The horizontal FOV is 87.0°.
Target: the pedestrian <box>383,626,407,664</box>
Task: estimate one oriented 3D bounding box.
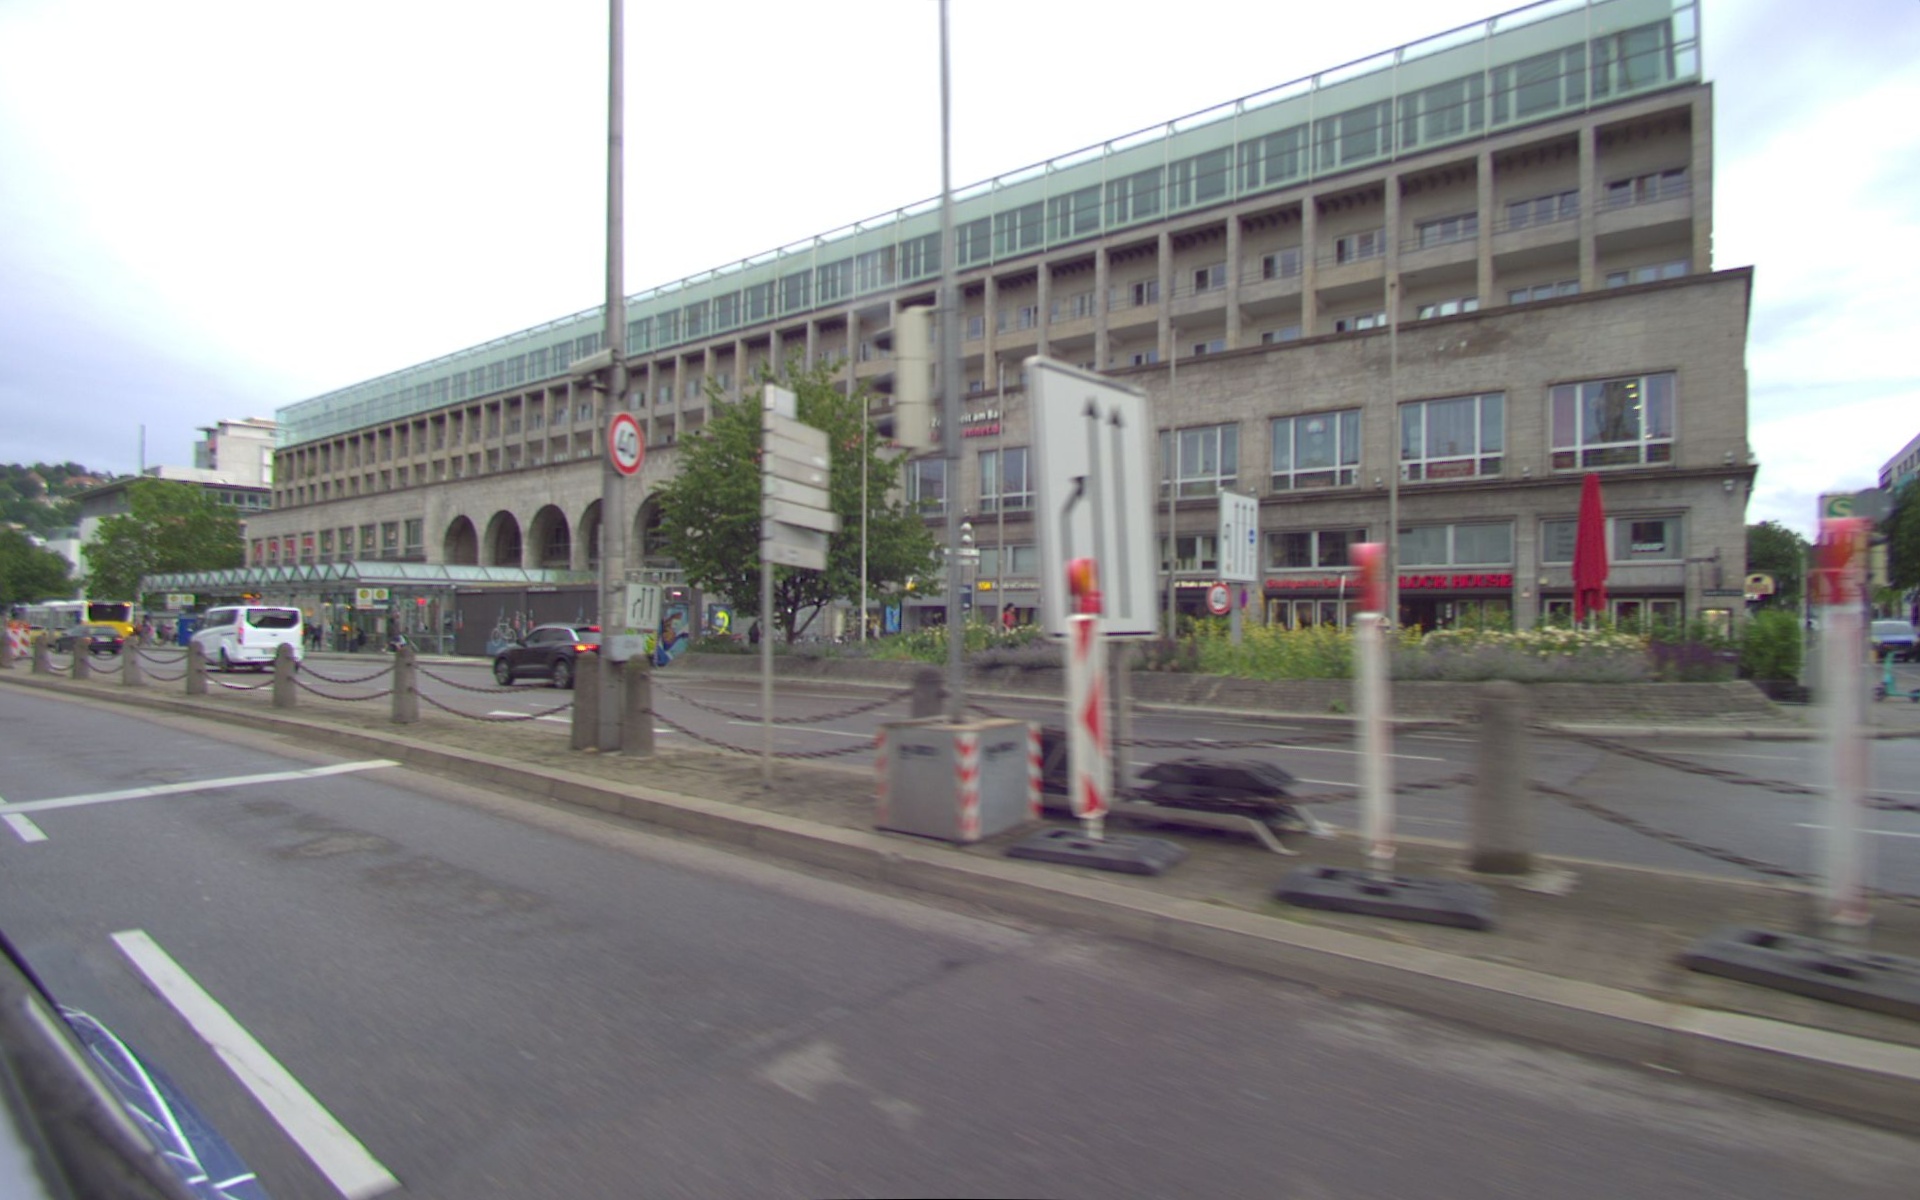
[{"bbox_3d":[-28.184,2.237,50.495,0.929,1.870,0.712,-2,-2,37],"label":"pedestrian"}]

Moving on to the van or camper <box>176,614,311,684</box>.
[{"bbox_3d":[-22.426,1.479,31.595,5.180,2.029,1.975,-1,-2,37],"label":"van or camper"}]

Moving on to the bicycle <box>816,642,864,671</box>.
[{"bbox_3d":[-5.505,2.582,46.405,0.663,1.303,2.341,-2,-3,42],"label":"bicycle"}]

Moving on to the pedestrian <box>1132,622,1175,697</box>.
[{"bbox_3d":[4.645,1.417,24.293,0.793,1.747,0.659,-3,-4,44],"label":"pedestrian"}]

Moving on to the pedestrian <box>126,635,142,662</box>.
[{"bbox_3d":[-53.701,3.152,65.775,0.854,1.738,0.618,-2,-2,37],"label":"pedestrian"}]

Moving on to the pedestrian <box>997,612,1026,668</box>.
[{"bbox_3d":[1.888,1.463,37.273,0.758,2.029,1.086,1,-3,-15],"label":"pedestrian"}]

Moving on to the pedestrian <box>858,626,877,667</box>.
[{"bbox_3d":[-4.307,2.169,47.127,0.603,1.869,0.674,-1,-3,30],"label":"pedestrian"}]

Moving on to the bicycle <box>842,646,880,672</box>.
[{"bbox_3d":[-4.445,2.641,45.596,0.502,1.170,1.886,-2,-3,39],"label":"bicycle"}]

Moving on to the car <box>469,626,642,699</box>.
[{"bbox_3d":[-10.007,1.485,24.894,4.571,1.629,1.974,-2,-3,39],"label":"car"}]

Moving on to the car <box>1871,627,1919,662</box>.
[{"bbox_3d":[42.033,1.984,45.080,1.713,1.475,3.951,-2,-3,36],"label":"car"}]

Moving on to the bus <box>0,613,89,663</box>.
[{"bbox_3d":[-66.183,2.788,72.925,10.554,3.402,2.851,-2,-3,37],"label":"bus"}]

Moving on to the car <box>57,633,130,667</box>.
[{"bbox_3d":[-43.793,2.497,51.093,4.973,1.629,1.973,-2,-3,40],"label":"car"}]

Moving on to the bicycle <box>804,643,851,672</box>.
[{"bbox_3d":[-6.162,2.671,47.159,0.663,1.303,2.341,-2,-3,42],"label":"bicycle"}]

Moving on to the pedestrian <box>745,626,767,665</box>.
[{"bbox_3d":[-9.288,2.081,45.993,0.727,1.765,0.659,-2,-3,36],"label":"pedestrian"}]

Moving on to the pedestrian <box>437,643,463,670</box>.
[{"bbox_3d":[-23.669,2.620,46.983,1.259,1.191,0.574,-2,-2,37],"label":"pedestrian"}]

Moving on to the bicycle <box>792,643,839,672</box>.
[{"bbox_3d":[-6.804,2.696,47.746,0.663,1.303,2.341,-2,-3,42],"label":"bicycle"}]

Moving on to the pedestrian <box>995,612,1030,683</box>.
[{"bbox_3d":[1.540,1.398,29.714,0.792,2.029,0.660,-2,-4,39],"label":"pedestrian"}]

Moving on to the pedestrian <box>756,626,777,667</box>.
[{"bbox_3d":[-8.899,2.144,46.549,0.727,1.867,0.659,-2,-3,36],"label":"pedestrian"}]

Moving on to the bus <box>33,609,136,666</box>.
[{"bbox_3d":[-57.706,2.488,66.616,10.554,3.486,2.851,-2,-2,37],"label":"bus"}]
